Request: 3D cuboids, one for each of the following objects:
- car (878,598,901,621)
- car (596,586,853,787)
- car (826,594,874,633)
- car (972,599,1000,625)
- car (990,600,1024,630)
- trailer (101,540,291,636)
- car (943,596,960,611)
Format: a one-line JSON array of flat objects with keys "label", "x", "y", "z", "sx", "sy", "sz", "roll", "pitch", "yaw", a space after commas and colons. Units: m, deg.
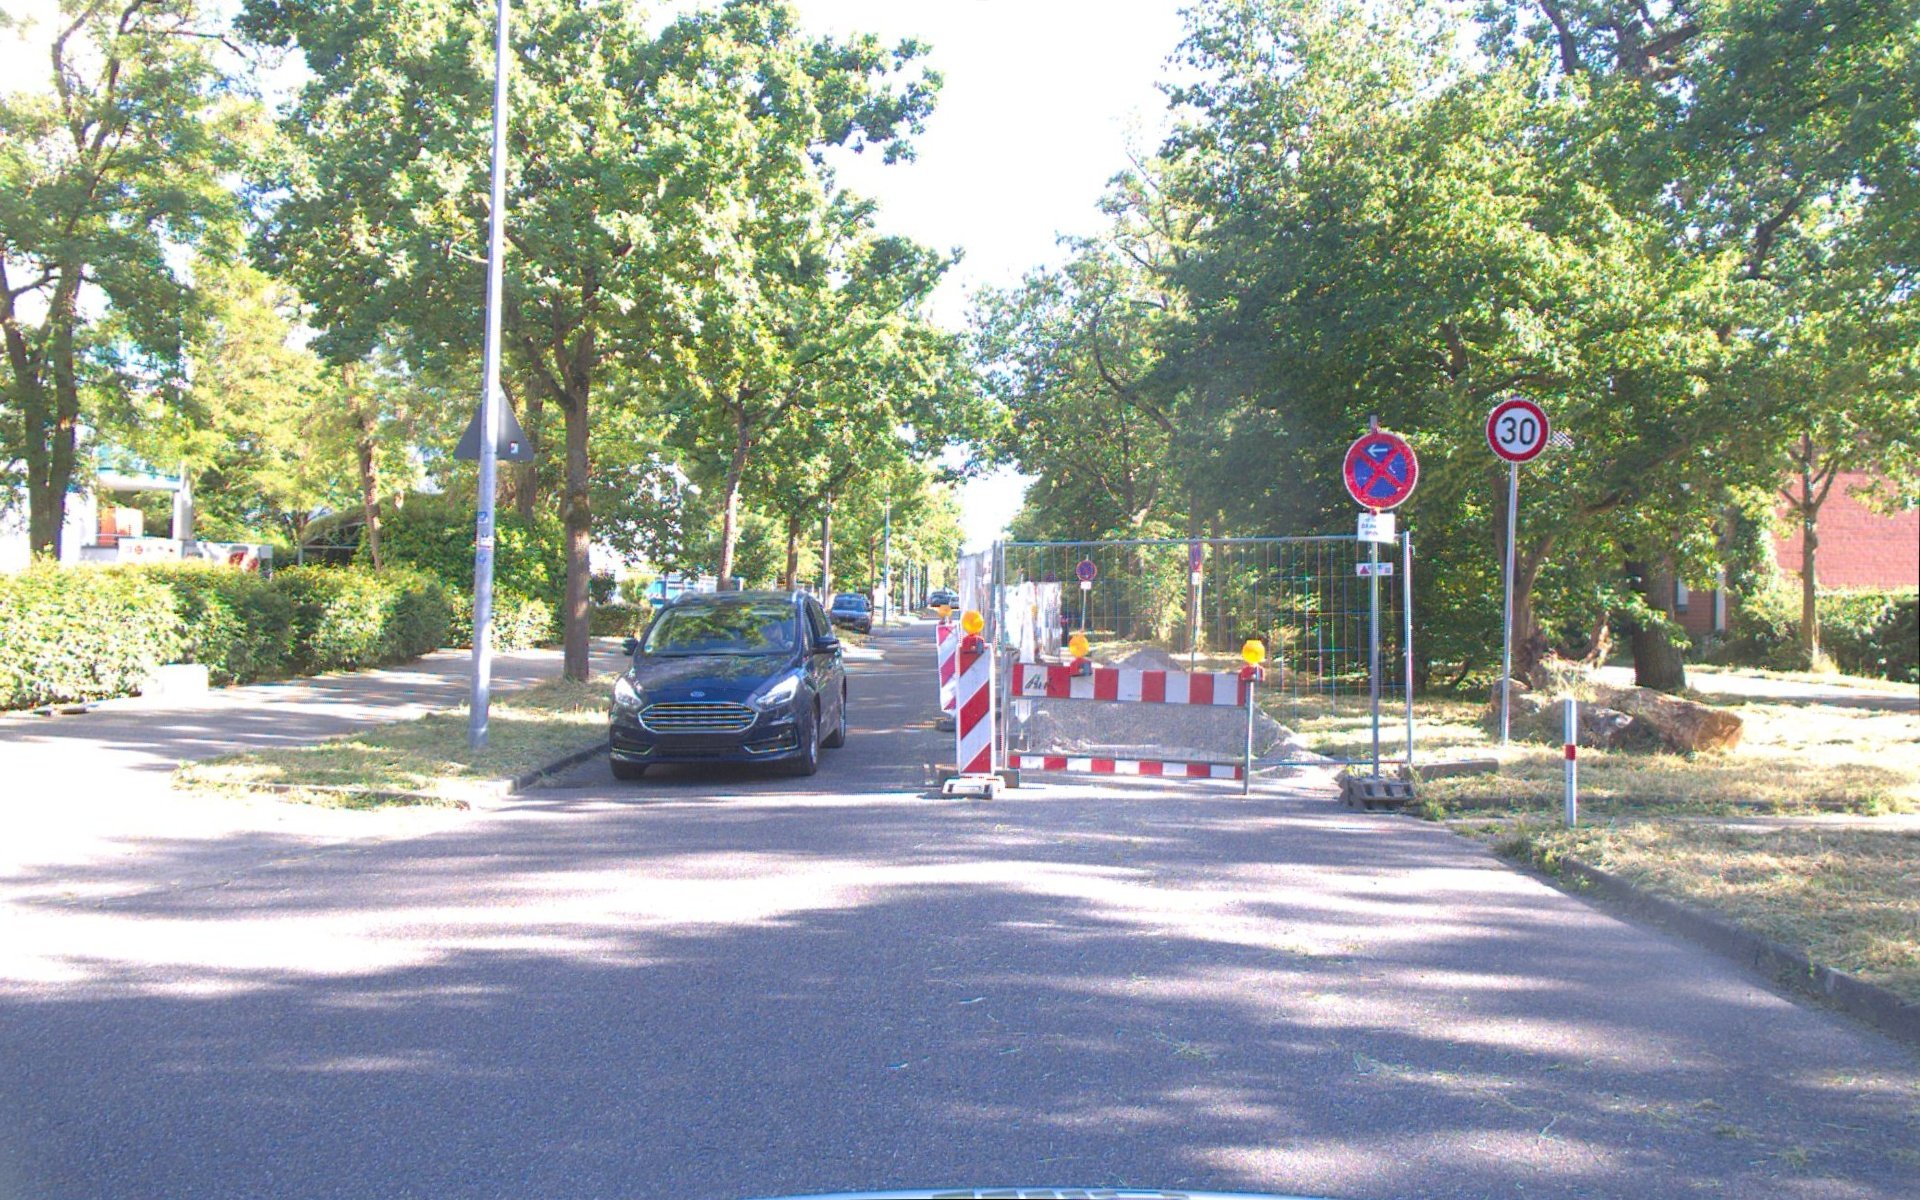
[{"label": "car", "x": -4.373, "y": 0.617, "z": 103.167, "sx": 1.334, "sy": 1.325, "sz": 3.480, "roll": 2, "pitch": -1, "yaw": -2}, {"label": "car", "x": -2.110, "y": 0.719, "z": 16.048, "sx": 1.784, "sy": 1.653, "sz": 4.492, "roll": -1, "pitch": 0, "yaw": 1}, {"label": "car", "x": -4.484, "y": 0.550, "z": 68.016, "sx": 1.715, "sy": 1.504, "sz": 3.836, "roll": 1, "pitch": 0, "yaw": -1}, {"label": "car", "x": 1.411, "y": 0.682, "z": 90.605, "sx": 1.334, "sy": 1.325, "sz": 3.480, "roll": 2, "pitch": -1, "yaw": -2}, {"label": "car", "x": 2.181, "y": 0.686, "z": 77.636, "sx": 1.334, "sy": 1.325, "sz": 3.480, "roll": 2, "pitch": -1, "yaw": -2}, {"label": "trailer", "x": -17.718, "y": -0.264, "z": 38.609, "sx": 1.934, "sy": 2.078, "sz": 4.433, "roll": 1, "pitch": 0, "yaw": 7}, {"label": "car", "x": -0.938, "y": 0.395, "z": 185.603, "sx": 1.676, "sy": 1.613, "sz": 3.997, "roll": 2, "pitch": -1, "yaw": -3}]
